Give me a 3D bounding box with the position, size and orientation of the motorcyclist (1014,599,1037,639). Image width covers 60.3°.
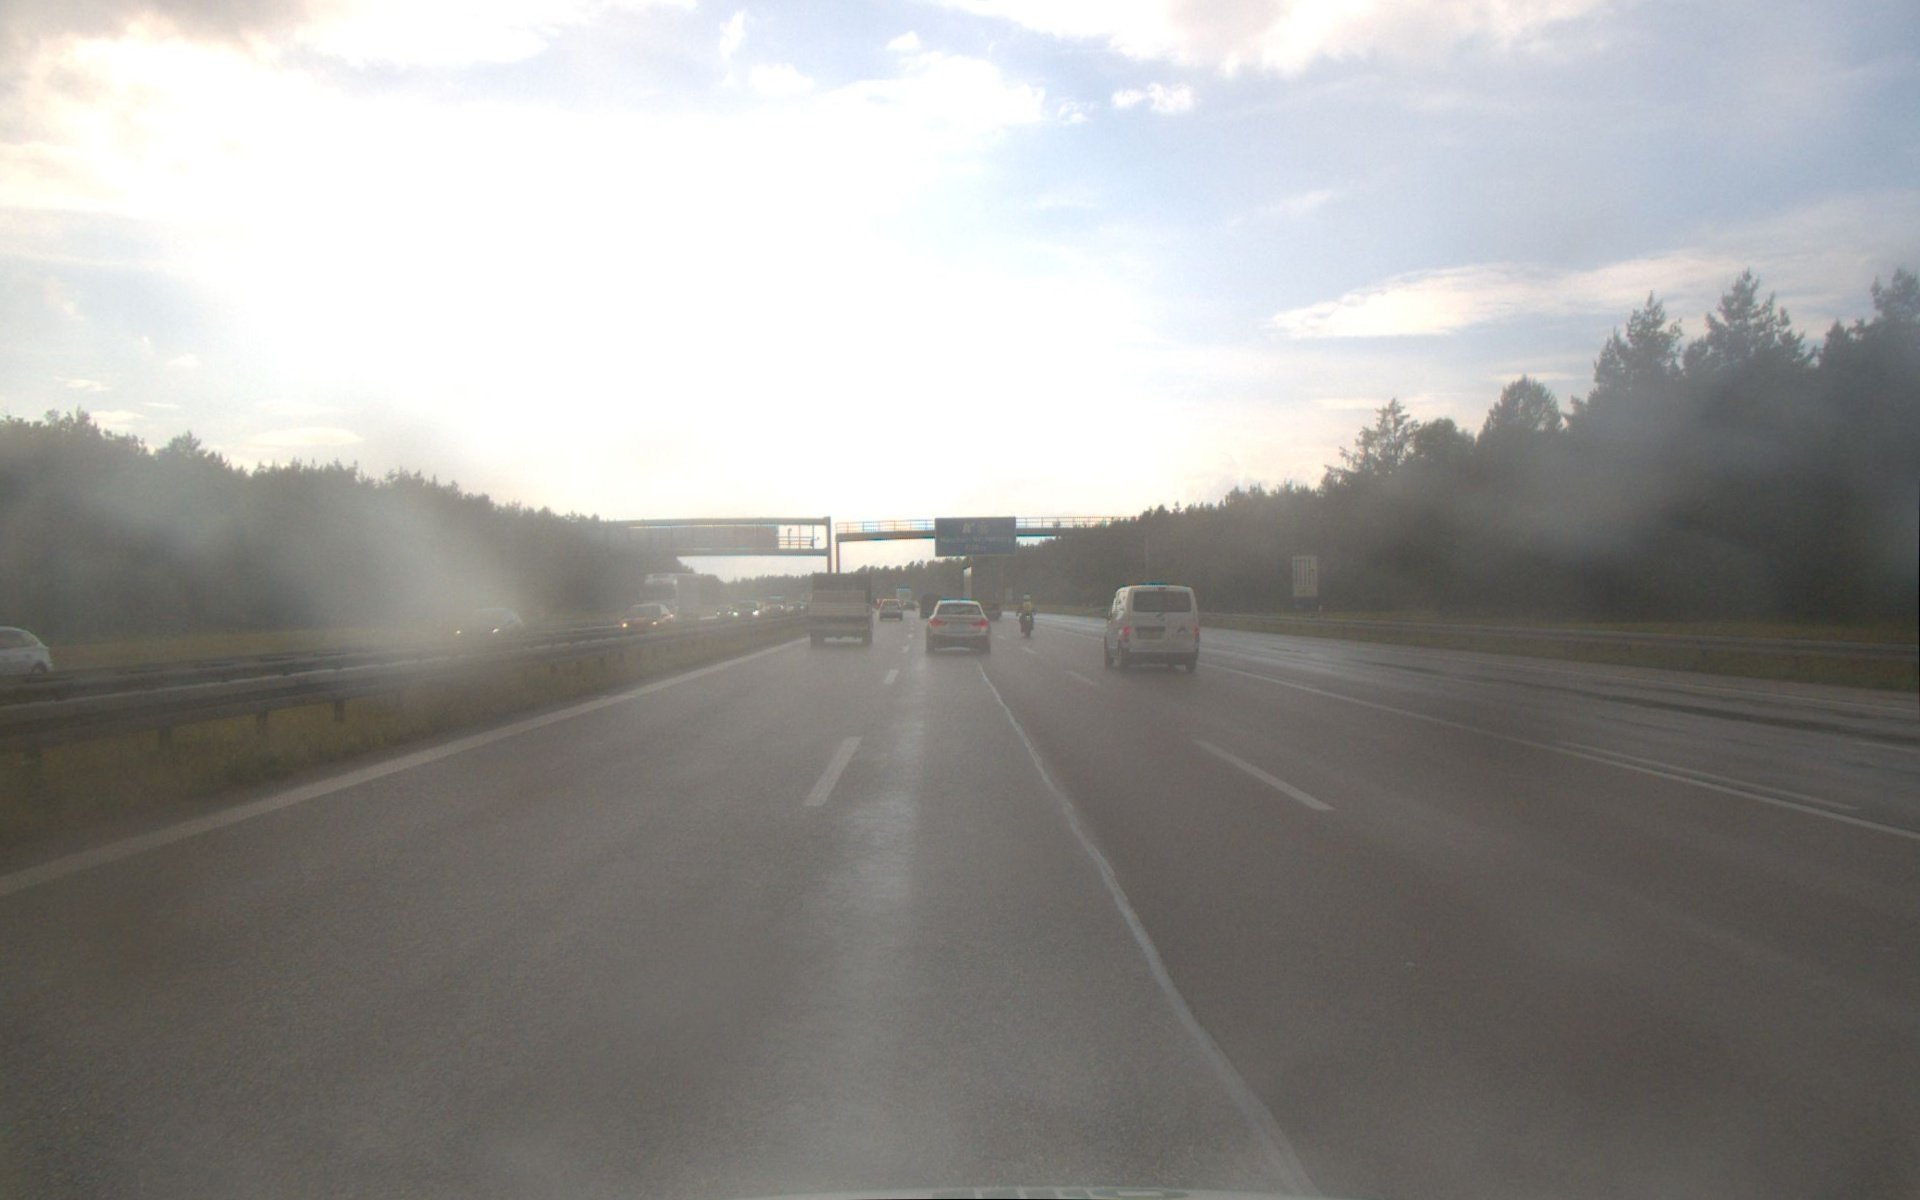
[{"bbox_3d":[2.764,0.786,69.522,0.873,1.643,0.958,0,0,-3],"label":"motorcyclist"}]

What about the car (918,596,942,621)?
[{"bbox_3d":[-2.519,0.716,139.490,1.870,2.049,3.997,0,0,-4],"label":"car"}]

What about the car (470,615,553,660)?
[{"bbox_3d":[-16.586,1.360,61.402,1.877,1.481,4.651,-1,0,-1],"label":"car"}]

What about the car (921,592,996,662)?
[{"bbox_3d":[-0.041,0.764,47.971,2.035,1.918,5.011,0,0,0],"label":"car"}]

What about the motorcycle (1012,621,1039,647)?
[{"bbox_3d":[2.760,1.422,69.718,0.980,1.049,2.172,0,0,-3],"label":"motorcycle"}]

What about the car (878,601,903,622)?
[{"bbox_3d":[-5.124,0.833,122.414,1.794,1.492,3.998,0,0,-3],"label":"car"}]

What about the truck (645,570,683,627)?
[{"bbox_3d":[-22.865,-0.090,127.791,2.096,4.312,4.706,1,0,-1],"label":"truck"}]

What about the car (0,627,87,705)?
[{"bbox_3d":[-20.140,1.369,34.111,1.754,1.498,4.818,-1,0,-1],"label":"car"}]

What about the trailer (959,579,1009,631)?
[{"bbox_3d":[1.883,0.429,134.458,2.279,4.072,13.391,0,0,-7],"label":"trailer"}]

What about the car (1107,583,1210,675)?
[{"bbox_3d":[4.409,0.619,37.363,1.923,1.935,4.883,0,0,2],"label":"car"}]

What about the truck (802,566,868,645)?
[{"bbox_3d":[-4.202,0.168,55.692,2.095,2.533,5.307,0,0,-4],"label":"truck"}]
